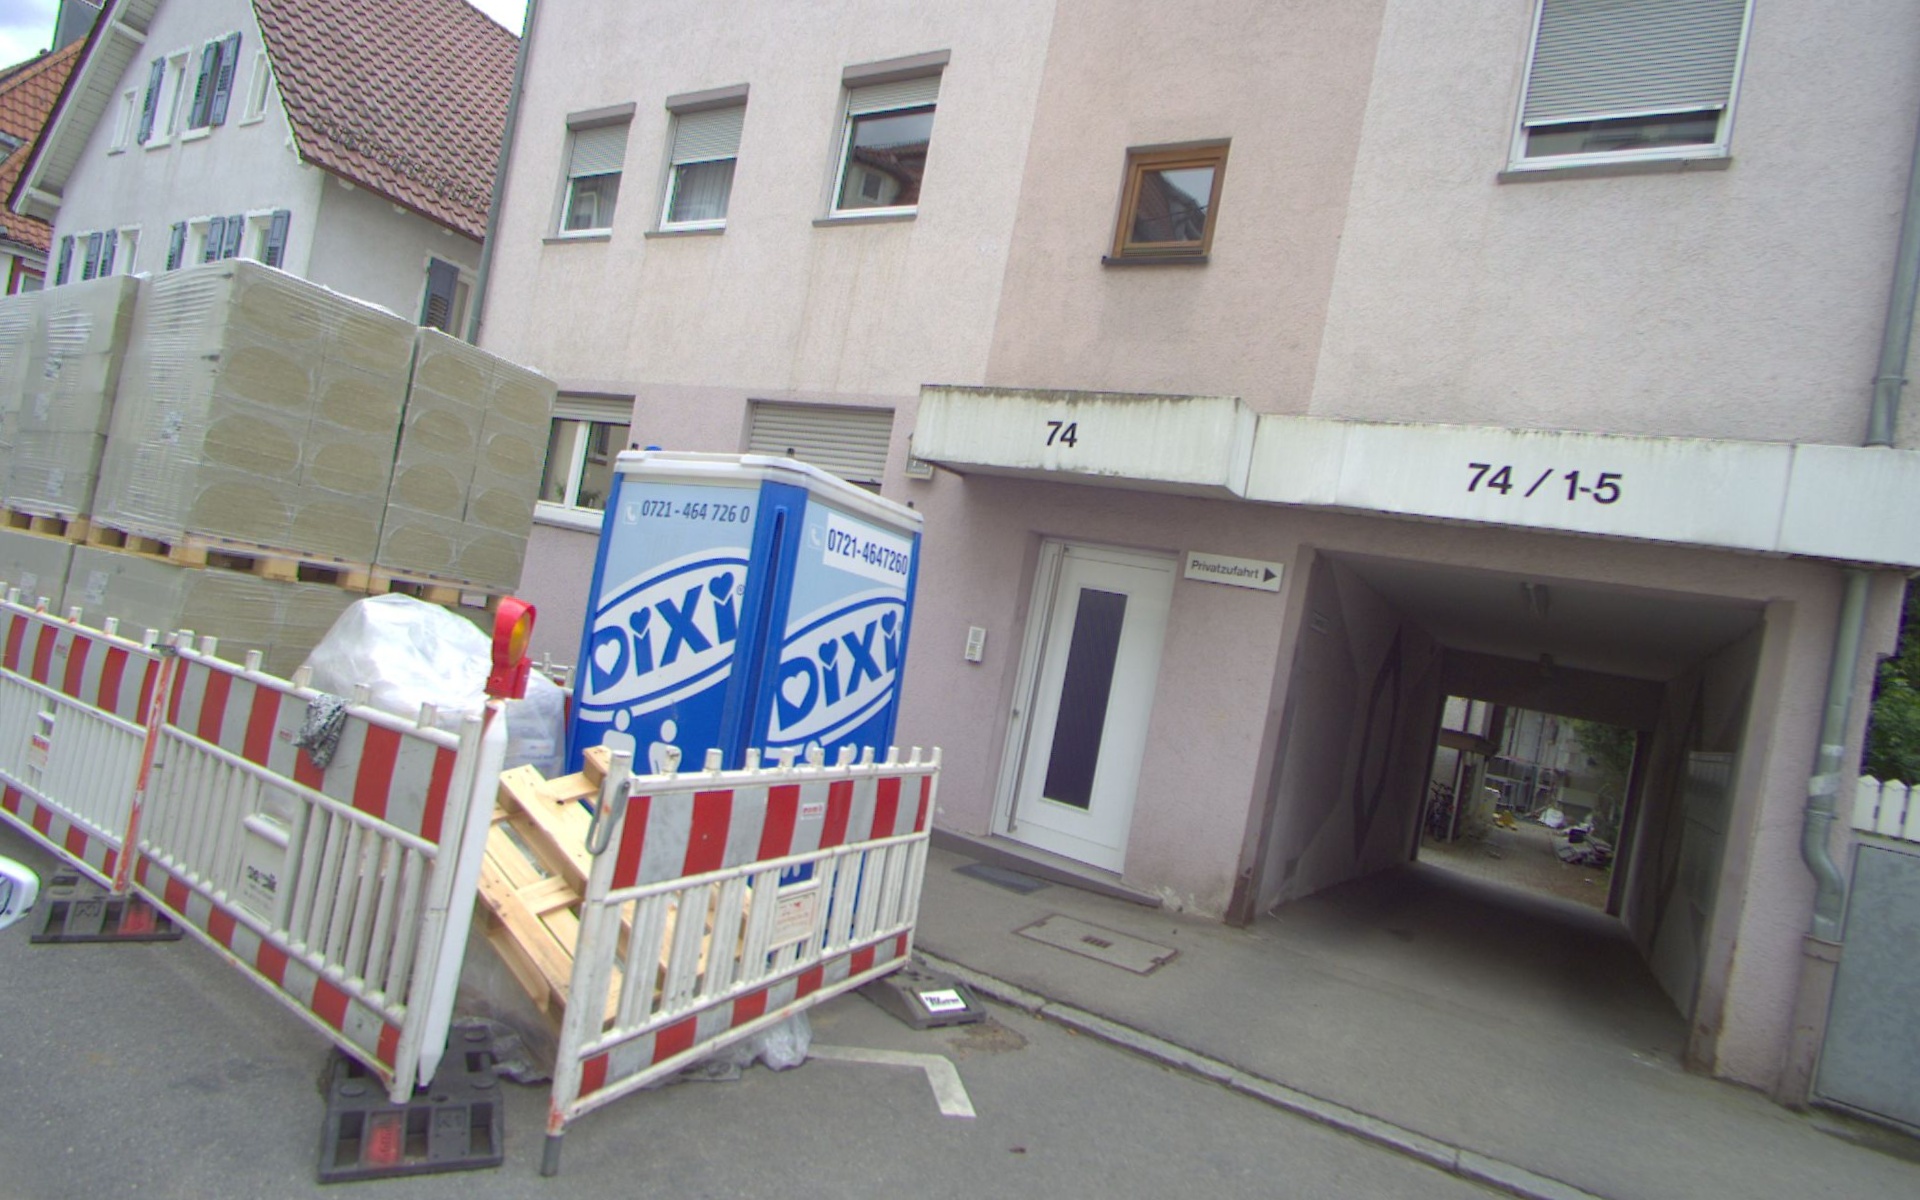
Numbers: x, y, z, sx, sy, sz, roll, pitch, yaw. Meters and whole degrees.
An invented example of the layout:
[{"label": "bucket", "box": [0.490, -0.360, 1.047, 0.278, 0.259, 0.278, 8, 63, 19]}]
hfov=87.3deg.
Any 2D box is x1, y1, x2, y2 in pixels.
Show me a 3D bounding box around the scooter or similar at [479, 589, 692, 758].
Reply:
[{"label": "scooter or similar", "box": [-3.281, 0.621, 8.779, 1.736, 1.169, 0.643, 8, -1, 30]}]
